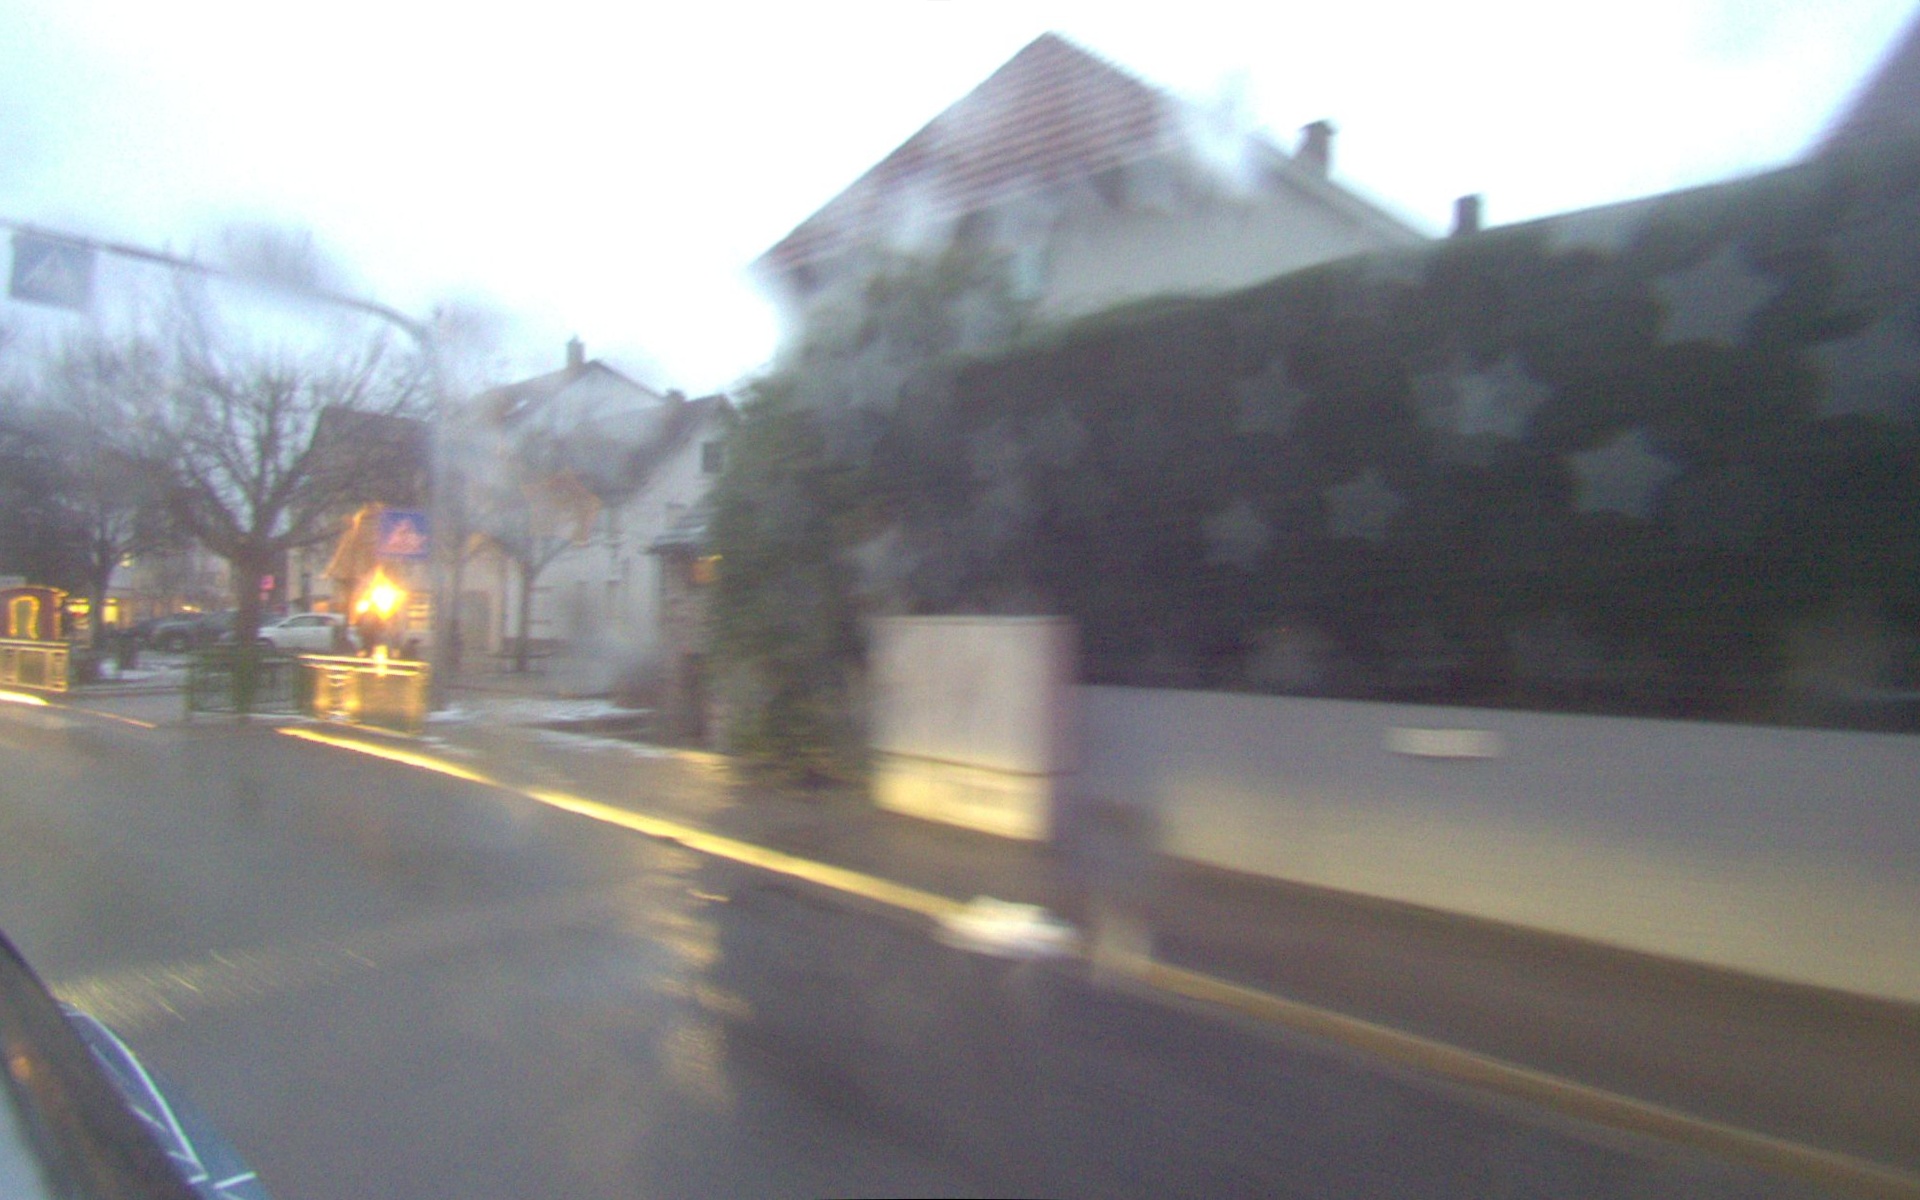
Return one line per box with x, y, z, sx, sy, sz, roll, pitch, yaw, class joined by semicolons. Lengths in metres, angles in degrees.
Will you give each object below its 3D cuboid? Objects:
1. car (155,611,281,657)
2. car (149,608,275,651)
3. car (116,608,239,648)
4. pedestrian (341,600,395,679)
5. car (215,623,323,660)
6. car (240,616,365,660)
-27.672;1.232;37.864;3.572;1.624;1.615;0;-1;-25;car
-29.628;1.158;40.228;3.933;1.645;1.639;1;-2;-34;car
-33.580;1.201;43.552;3.931;1.645;1.639;1;-2;-29;car
-13.513;0.888;23.083;0.869;1.748;0.956;1;-2;-43;pedestrian
-24.957;1.469;36.656;3.002;1.229;1.615;0;-1;-25;car
-22.688;1.272;35.062;3.425;1.420;1.616;0;-1;-23;car
